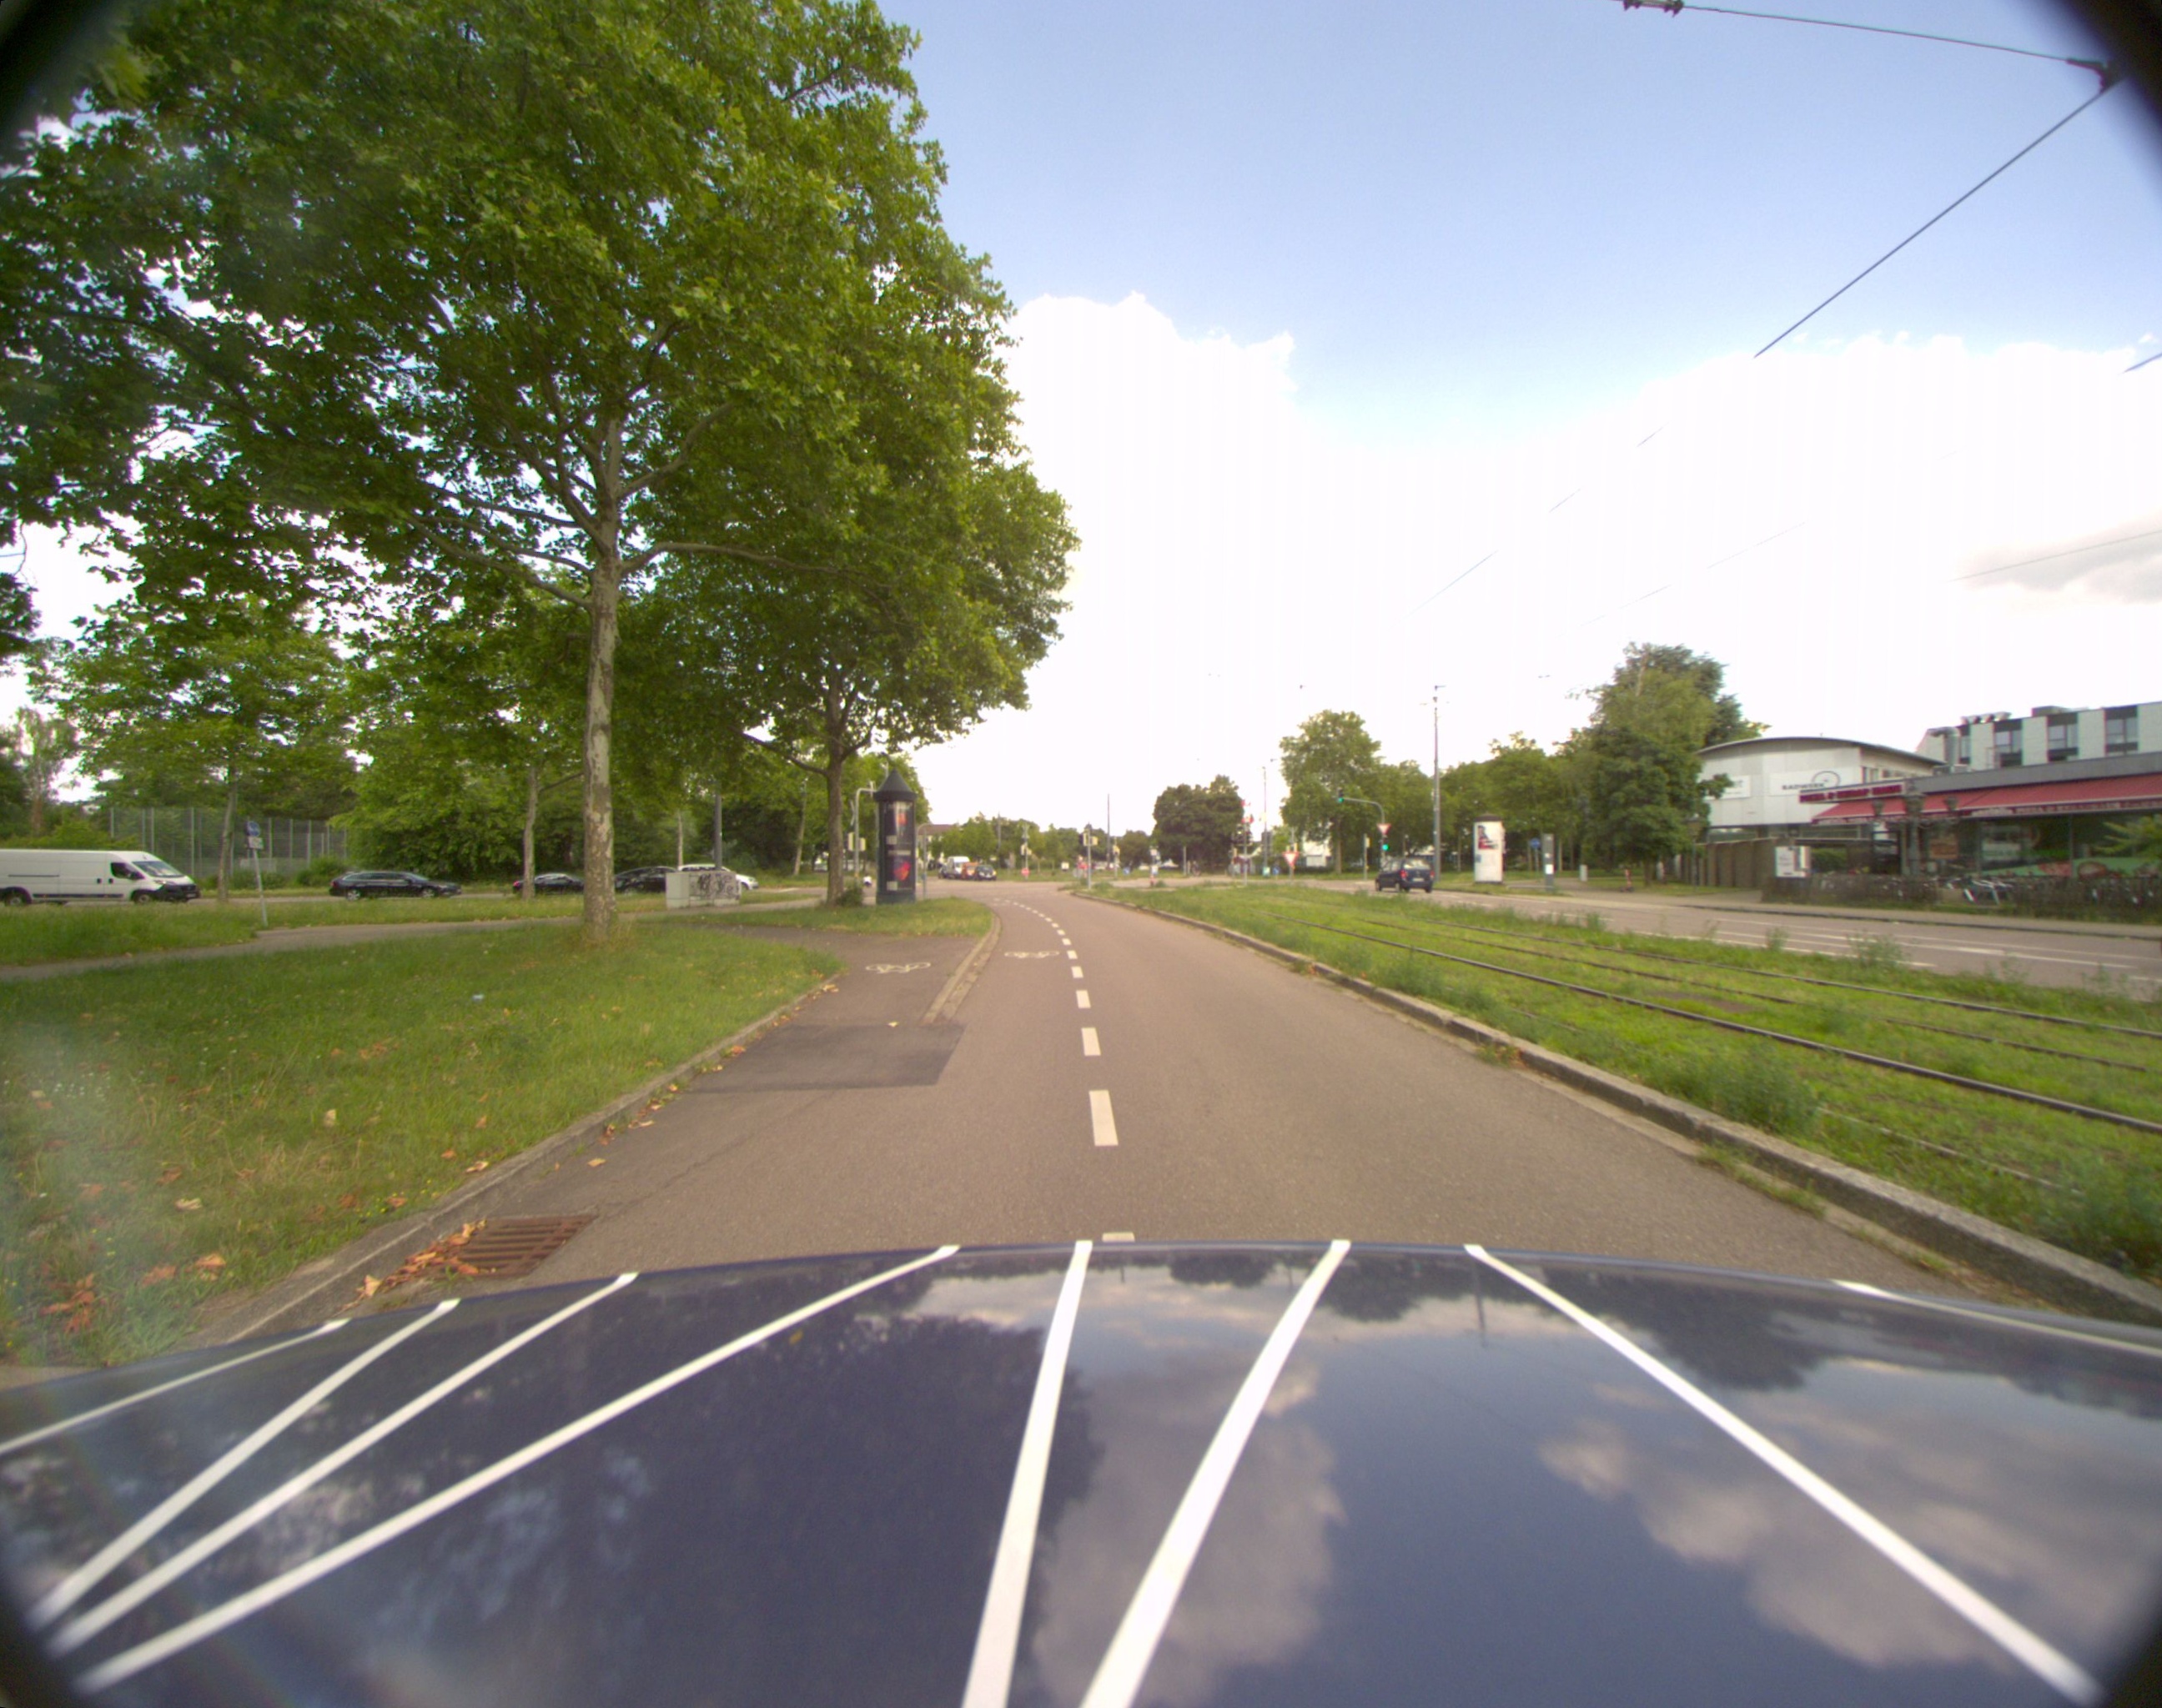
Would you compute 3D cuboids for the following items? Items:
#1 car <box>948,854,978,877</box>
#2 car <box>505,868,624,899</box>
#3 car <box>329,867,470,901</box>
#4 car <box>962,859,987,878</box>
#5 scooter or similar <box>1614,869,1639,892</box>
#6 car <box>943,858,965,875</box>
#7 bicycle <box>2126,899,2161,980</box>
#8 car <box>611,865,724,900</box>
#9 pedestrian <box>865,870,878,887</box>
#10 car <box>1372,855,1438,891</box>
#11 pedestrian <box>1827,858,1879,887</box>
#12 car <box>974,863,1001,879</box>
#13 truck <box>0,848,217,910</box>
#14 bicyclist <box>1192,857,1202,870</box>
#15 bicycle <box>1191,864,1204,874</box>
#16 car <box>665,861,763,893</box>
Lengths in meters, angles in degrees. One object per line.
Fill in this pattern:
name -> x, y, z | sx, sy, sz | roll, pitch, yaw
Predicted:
car -> -13.486, 1.292, 86.782 | 2.242, 2.492, 5.716 | -1, 0, -21
car -> -26.585, 1.489, 39.324 | 4.754, 1.461, 1.996 | 0, 1, -21
car -> -33.087, 1.421, 37.069 | 4.692, 1.504, 1.996 | 0, 1, -21
car -> -11.342, 1.541, 80.608 | 1.798, 1.924, 4.361 | -1, 0, -20
scooter or similar -> 25.161, 1.204, 35.070 | 0.427, 1.027, 1.224 | -1, 0, 10
car -> -15.475, 1.503, 92.151 | 1.798, 1.924, 4.361 | -1, 0, -20
bicycle -> 14.854, 1.155, 9.675 | 0.647, 1.073, 1.805 | 0, 0, 1
car -> -20.482, 1.373, 37.846 | 4.691, 1.601, 1.996 | 0, 1, -20
pedestrian -> -13.364, 1.558, 48.483 | 0.723, 1.028, 0.900 | -1, 0, -20
car -> 15.528, 0.887, 36.582 | 1.783, 1.617, 3.496 | 0, 0, 2
pedestrian -> 30.789, 0.719, 30.322 | 1.156, 1.139, 0.932 | 0, 0, 1
car -> -9.252, 1.652, 74.886 | 1.798, 1.530, 3.994 | -1, 0, -19
truck -> -43.388, 1.035, 33.629 | 6.515, 2.580, 2.213 | 0, 0, -20
bicyclist -> 13.070, 1.052, 85.727 | 0.805, 1.461, 0.831 | -1, -1, -13
bicycle -> 13.117, 1.676, 85.577 | 0.805, 1.053, 2.068 | -1, -2, -13
car -> -20.260, 1.239, 42.191 | 4.692, 1.601, 1.996 | 0, 1, -21
